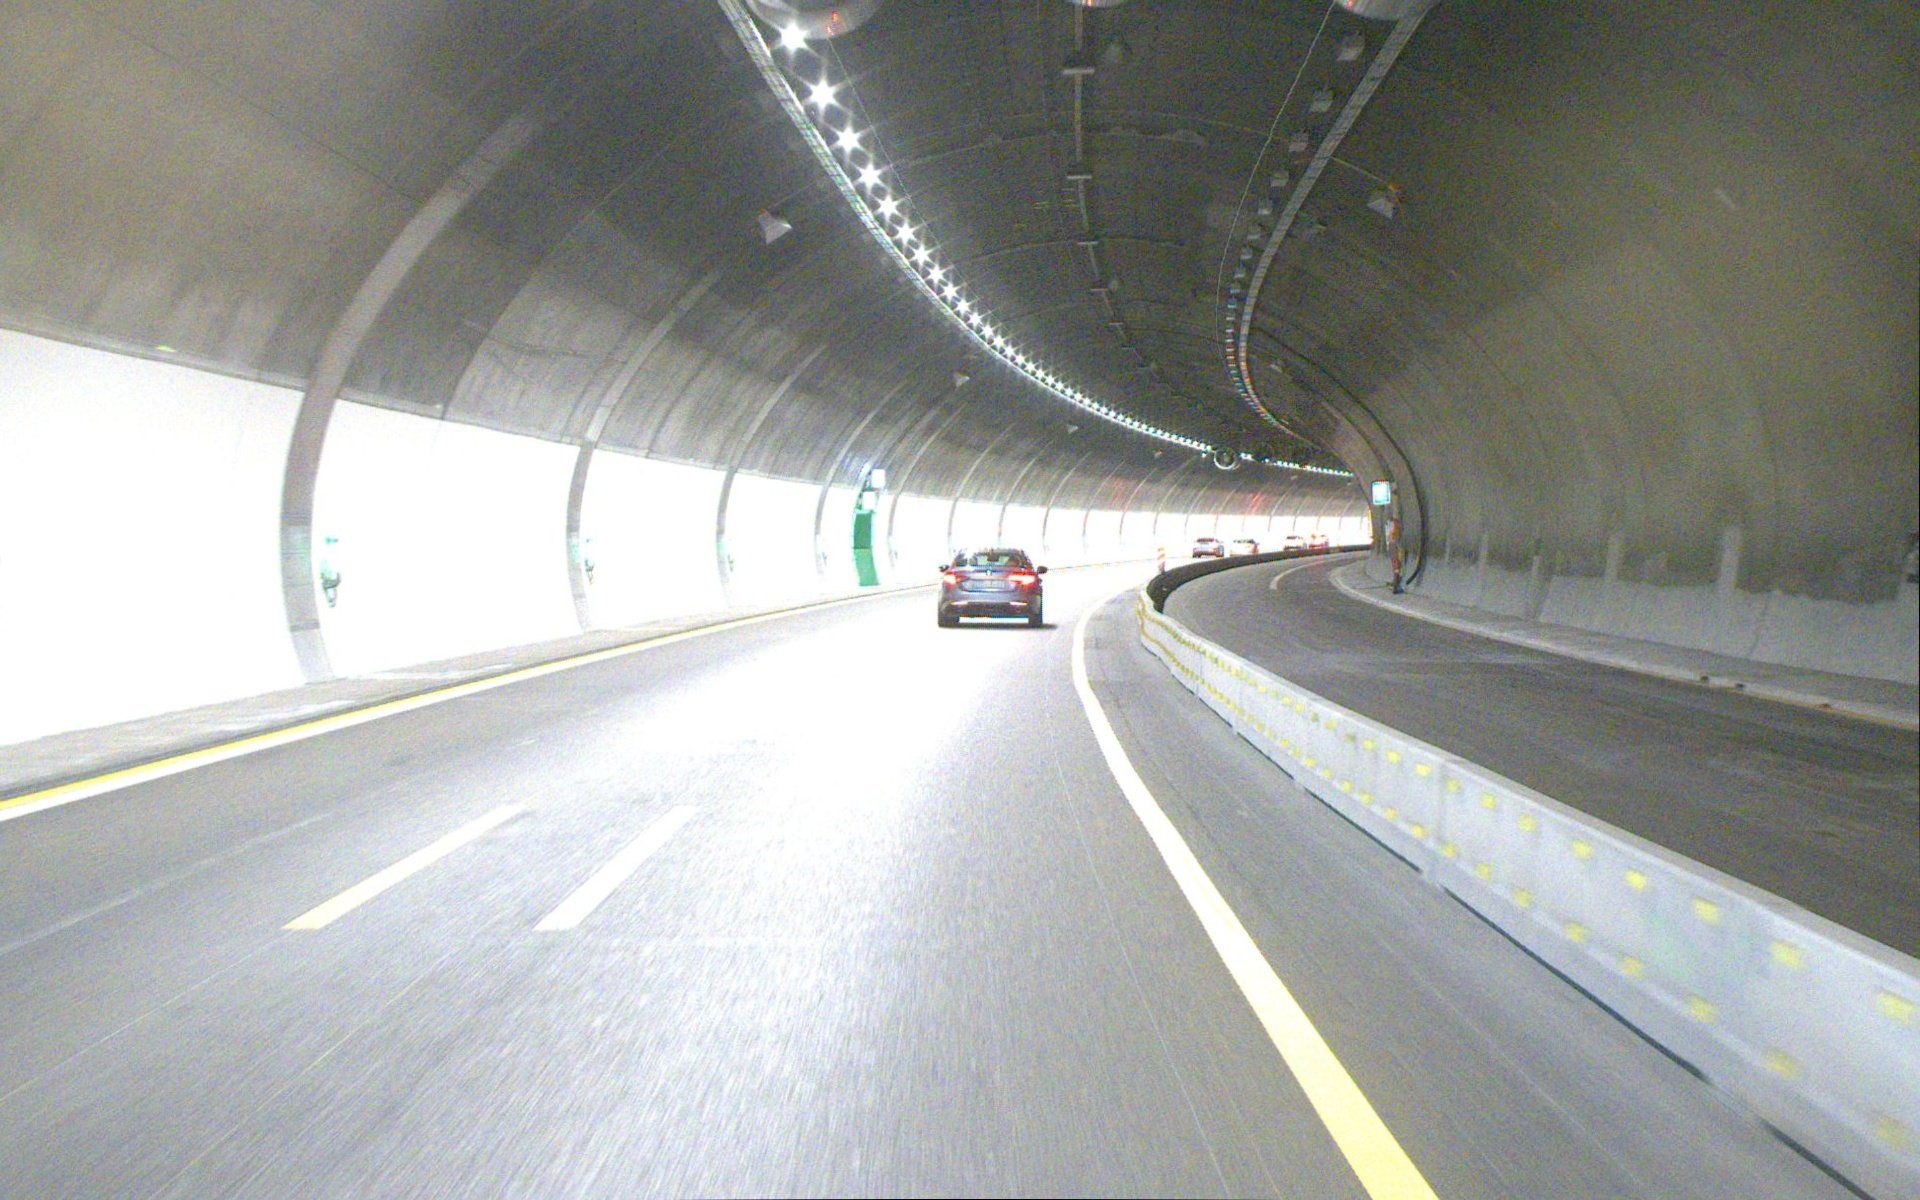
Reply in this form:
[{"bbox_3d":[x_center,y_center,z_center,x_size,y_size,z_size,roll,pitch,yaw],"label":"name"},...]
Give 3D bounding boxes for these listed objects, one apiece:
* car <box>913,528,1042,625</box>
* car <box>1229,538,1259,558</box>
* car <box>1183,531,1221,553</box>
[{"bbox_3d":[0.350,-0.454,62.294,2.141,1.700,4.000,0,1,3],"label":"car"},{"bbox_3d":[18.800,-3.439,227.690,1.596,1.328,3.749,0,1,11],"label":"car"},{"bbox_3d":[16.791,-4.045,238.334,2.166,1.481,3.998,0,1,11],"label":"car"}]
